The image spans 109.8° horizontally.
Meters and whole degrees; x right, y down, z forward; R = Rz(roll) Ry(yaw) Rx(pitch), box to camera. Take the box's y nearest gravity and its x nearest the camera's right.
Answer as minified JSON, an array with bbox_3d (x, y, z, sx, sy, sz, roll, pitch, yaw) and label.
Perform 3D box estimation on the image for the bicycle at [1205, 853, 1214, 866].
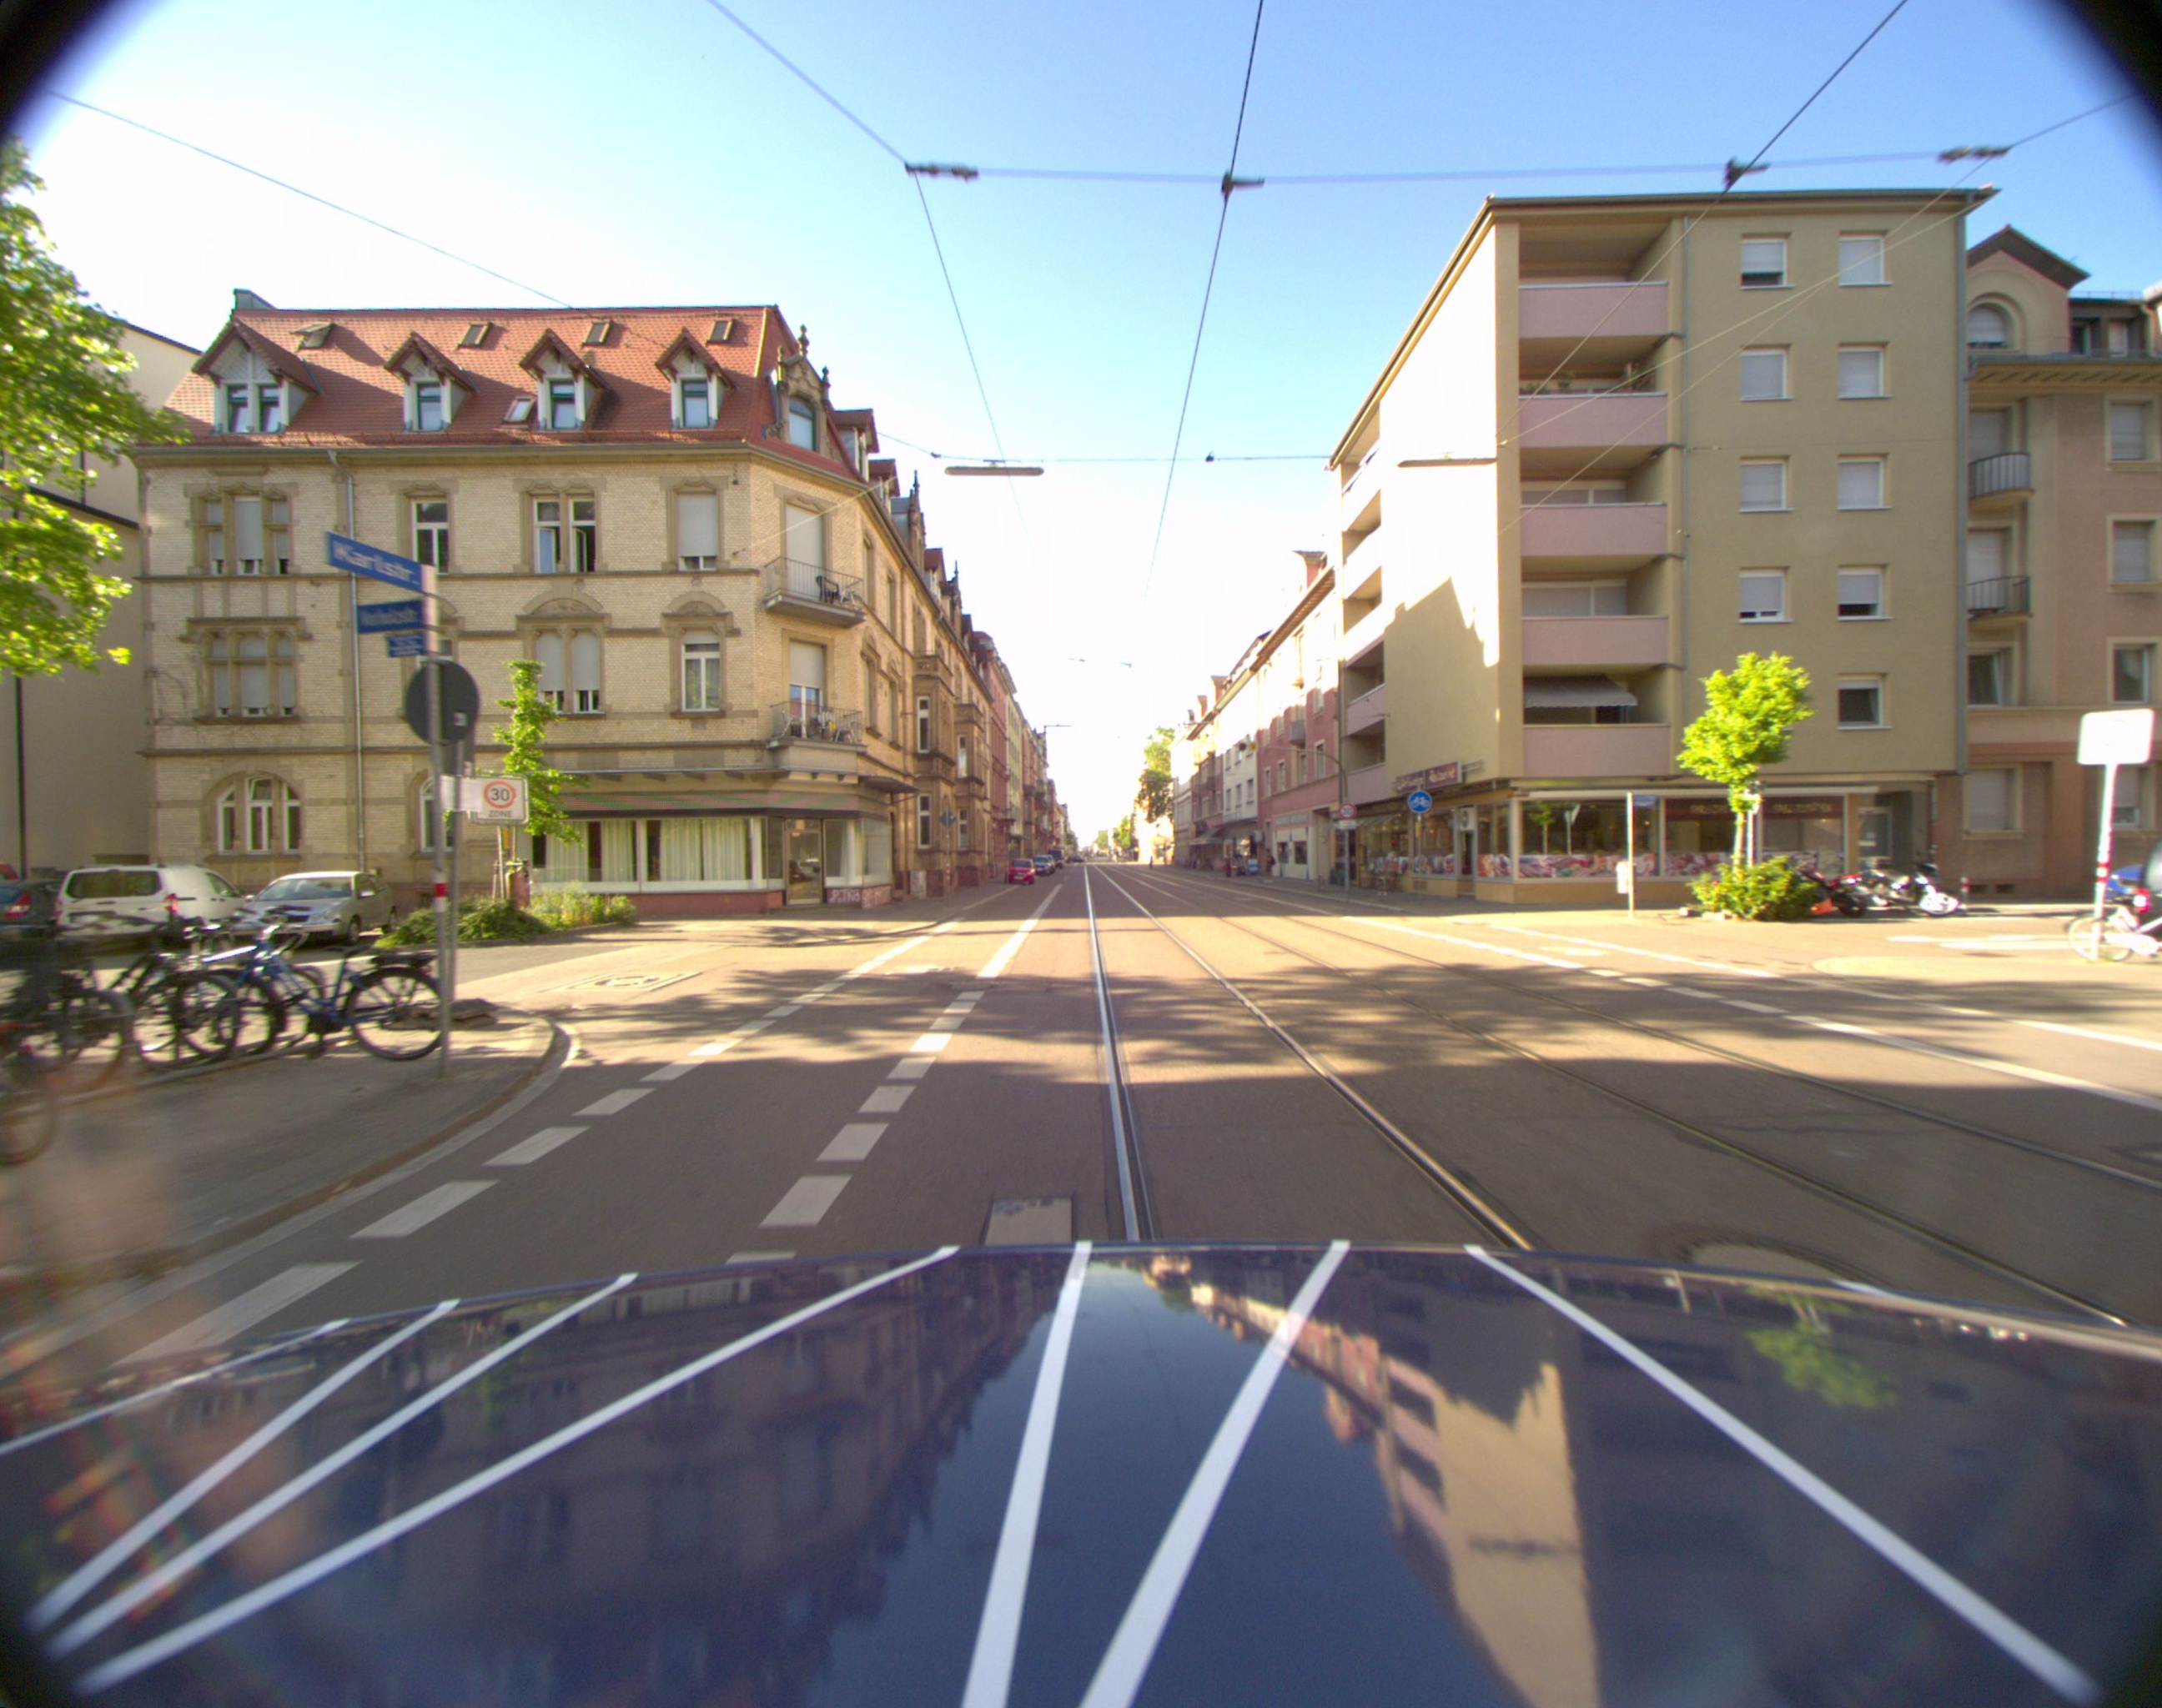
[{"bbox_3d":[11.561,0.494,68.504,0.425,1.053,2.329,-2,1,0],"label":"bicycle"}]

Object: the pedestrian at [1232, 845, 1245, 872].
[{"bbox_3d":[10.221,0.283,49.369,0.627,1.779,0.821,-2,1,0],"label":"pedestrian"}]

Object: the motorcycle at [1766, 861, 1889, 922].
[{"bbox_3d":[16.526,0.785,16.907,0.621,1.202,2.176,-2,1,1],"label":"motorcycle"}]

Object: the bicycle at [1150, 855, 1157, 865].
[{"bbox_3d":[8.177,0.644,86.159,0.603,1.089,2.044,1,1,1],"label":"bicycle"}]

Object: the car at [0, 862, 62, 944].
[{"bbox_3d":[-25.688,1.176,16.638,1.773,1.885,3.952,-2,1,-11],"label":"car"}]

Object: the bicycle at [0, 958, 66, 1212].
[{"bbox_3d":[-5.668,1.081,3.572,1.563,1.121,0.295,-2,1,7],"label":"bicycle"}]

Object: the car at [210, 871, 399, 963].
[{"bbox_3d":[-15.652,1.178,15.559,1.775,1.523,3.523,-2,1,-30],"label":"car"}]

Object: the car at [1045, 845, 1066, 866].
[{"bbox_3d":[-3.181,0.141,96.383,2.128,2.478,5.856,-2,1,2],"label":"car"}]

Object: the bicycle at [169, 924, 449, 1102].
[{"bbox_3d":[-5.518,1.117,5.481,1.400,1.121,0.551,-2,1,0],"label":"bicycle"}]

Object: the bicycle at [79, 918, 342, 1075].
[{"bbox_3d":[-6.893,1.112,6.043,1.559,1.121,0.551,-2,1,7],"label":"bicycle"}]

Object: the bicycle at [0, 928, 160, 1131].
[{"bbox_3d":[-6.905,1.071,4.781,1.678,1.121,0.551,-2,1,7],"label":"bicycle"}]

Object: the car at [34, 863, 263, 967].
[{"bbox_3d":[-19.336,1.140,16.009,1.775,1.819,3.731,-2,1,-30],"label":"car"}]

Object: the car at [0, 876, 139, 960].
[{"bbox_3d":[-21.992,1.287,15.828,1.775,1.523,3.523,-2,1,-30],"label":"car"}]

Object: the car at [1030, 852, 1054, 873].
[{"bbox_3d":[-3.335,0.670,63.924,1.871,1.637,4.399,2,1,-4],"label":"car"}]

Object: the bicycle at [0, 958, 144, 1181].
[{"bbox_3d":[-5.870,1.118,4.030,1.559,1.073,0.307,-2,1,7],"label":"bicycle"}]

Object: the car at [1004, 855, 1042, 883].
[{"bbox_3d":[-3.432,0.867,45.626,1.870,1.474,4.400,2,1,0],"label":"car"}]

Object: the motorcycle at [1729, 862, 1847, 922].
[{"bbox_3d":[15.733,0.809,17.002,0.621,1.202,2.176,-2,1,1],"label":"motorcycle"}]

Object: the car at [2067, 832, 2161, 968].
[{"bbox_3d":[15.777,0.560,9.161,1.851,1.806,4.352,1,-3,-20],"label":"car"}]

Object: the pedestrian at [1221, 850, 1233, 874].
[{"bbox_3d":[9.349,0.498,48.733,0.637,1.540,0.623,-2,1,0],"label":"pedestrian"}]

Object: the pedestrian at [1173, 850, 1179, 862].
[{"bbox_3d":[15.659,0.300,125.304,0.795,1.837,0.809,-2,1,3],"label":"pedestrian"}]

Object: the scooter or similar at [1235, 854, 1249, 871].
[{"bbox_3d":[10.185,0.556,48.142,0.663,1.055,1.105,-2,0,1],"label":"scooter or similar"}]

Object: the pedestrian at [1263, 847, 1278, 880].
[{"bbox_3d":[9.778,0.483,39.289,0.564,1.676,0.616,-2,1,-1],"label":"pedestrian"}]

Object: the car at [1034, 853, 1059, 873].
[{"bbox_3d":[-3.137,0.767,69.377,1.998,1.606,4.785,2,1,0],"label":"car"}]

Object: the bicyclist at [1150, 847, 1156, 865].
[{"bbox_3d":[8.179,0.178,86.371,0.613,2.002,0.733,-2,1,1],"label":"bicyclist"}]

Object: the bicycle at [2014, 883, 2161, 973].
[{"bbox_3d":[13.862,0.937,9.715,0.683,1.102,2.435,-2,-2,-6],"label":"bicycle"}]

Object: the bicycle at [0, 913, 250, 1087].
[{"bbox_3d":[-6.985,1.025,5.452,1.559,1.121,0.528,-2,1,7],"label":"bicycle"}]
